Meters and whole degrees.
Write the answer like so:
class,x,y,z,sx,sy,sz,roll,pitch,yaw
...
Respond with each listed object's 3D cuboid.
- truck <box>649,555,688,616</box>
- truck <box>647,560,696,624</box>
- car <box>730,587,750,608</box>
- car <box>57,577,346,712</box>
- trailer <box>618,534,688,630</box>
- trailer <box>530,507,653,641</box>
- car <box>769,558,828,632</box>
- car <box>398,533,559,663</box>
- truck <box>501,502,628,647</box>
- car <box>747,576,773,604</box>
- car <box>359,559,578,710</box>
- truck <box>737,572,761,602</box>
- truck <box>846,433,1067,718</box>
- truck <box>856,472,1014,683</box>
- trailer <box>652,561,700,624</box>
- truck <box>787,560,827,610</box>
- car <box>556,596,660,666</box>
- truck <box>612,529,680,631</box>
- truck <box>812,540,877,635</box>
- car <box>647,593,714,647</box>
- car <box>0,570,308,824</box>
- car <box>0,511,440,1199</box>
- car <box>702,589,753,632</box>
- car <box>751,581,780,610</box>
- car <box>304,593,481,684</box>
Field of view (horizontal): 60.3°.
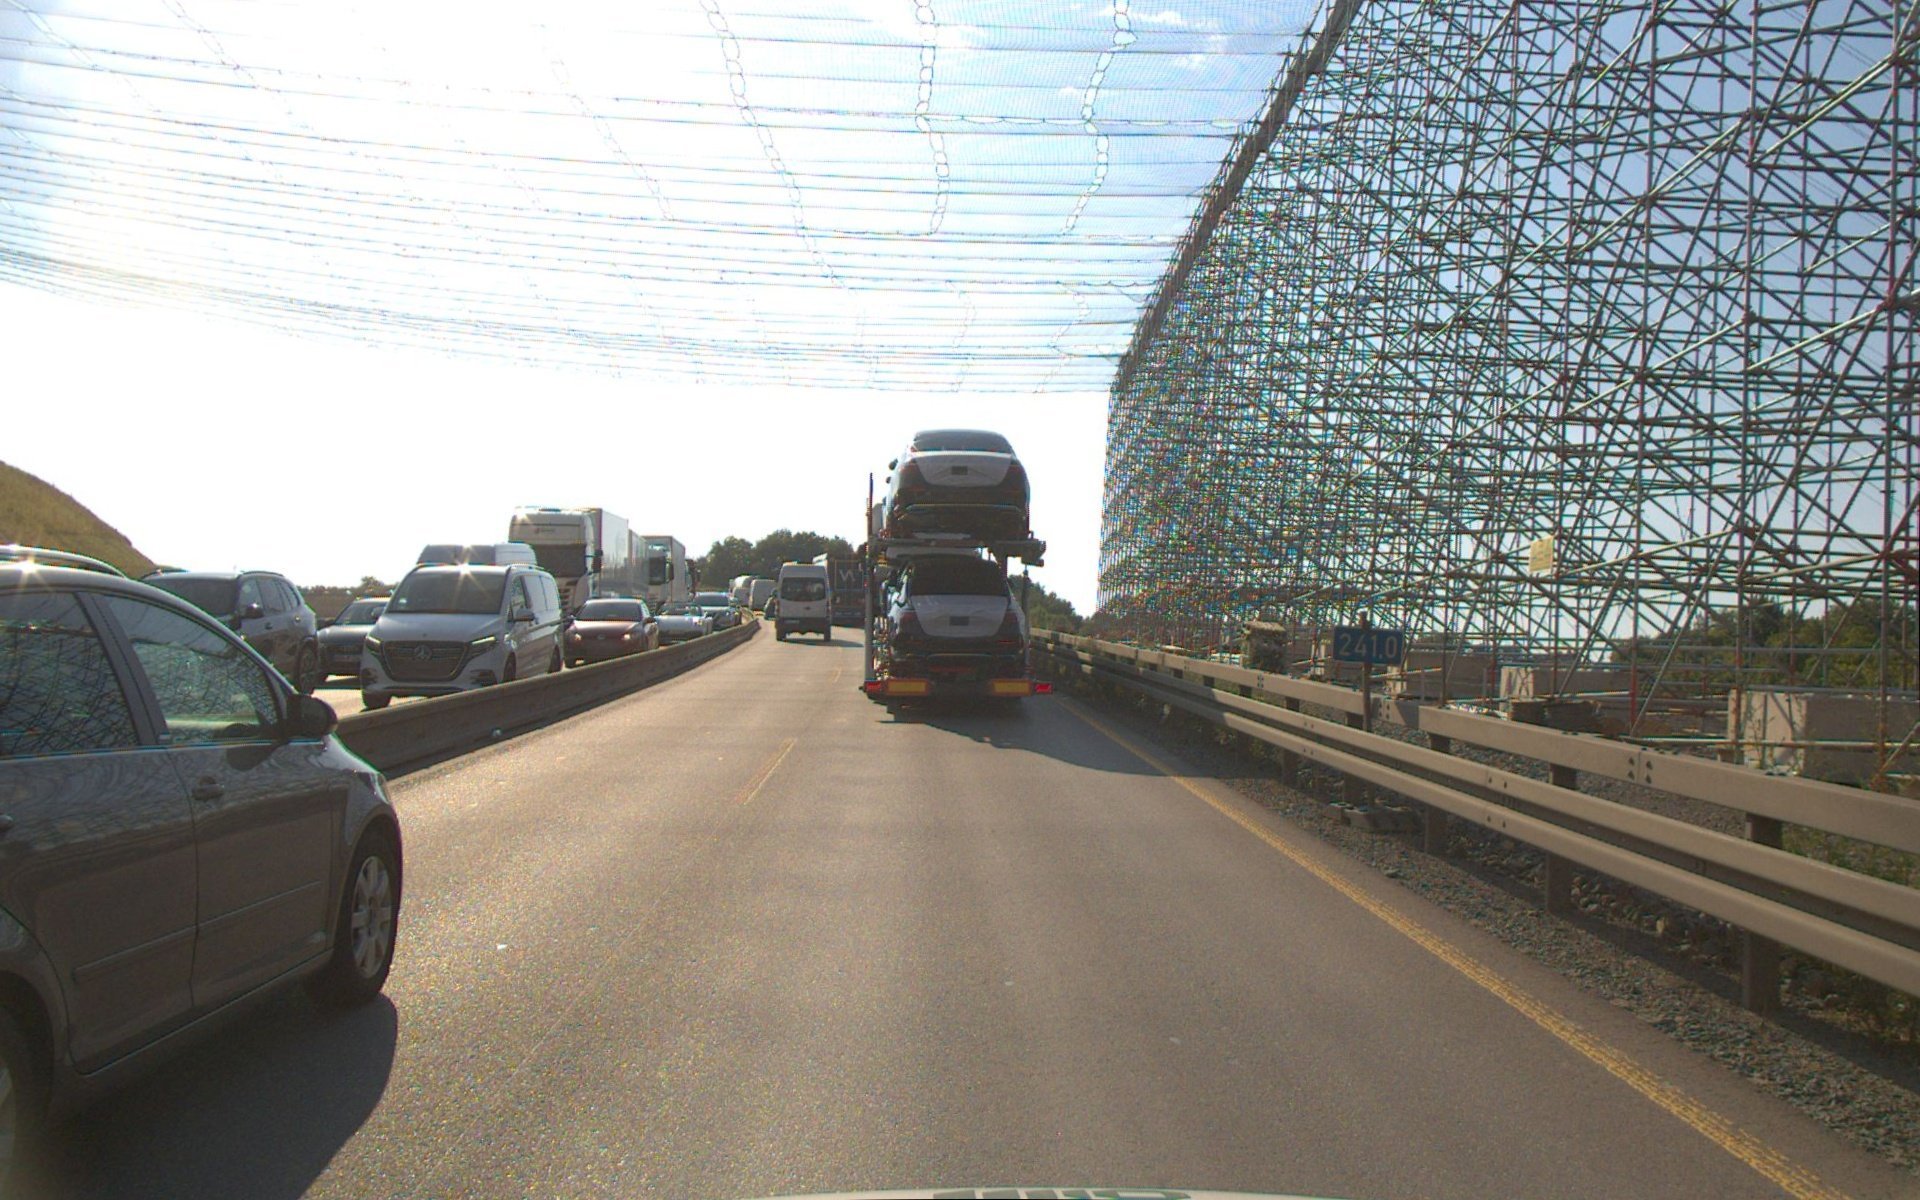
class,x,y,z,sx,sy,sz,roll,pitch,yaw
truck,-19.148,-0.910,108.788,2.388,3.851,5.604,1,0,-10
truck,-15.953,-0.425,91.592,2.368,3.429,5.608,1,0,-8
car,-20.834,-0.238,156.635,1.803,1.868,3.992,1,0,-9
car,-9.900,0.540,22.062,1.756,1.567,4.907,1,0,-3
trailer,-14.250,-0.747,77.561,2.382,4.032,14.074,1,0,-7
trailer,-12.630,-0.783,57.785,2.618,4.086,13.315,1,0,-6
car,-5.907,-0.168,59.992,1.885,2.536,5.398,1,0,-8
car,-11.247,-0.030,39.236,2.197,2.760,7.075,1,0,-4
truck,-11.664,-0.696,49.366,2.580,3.978,7.196,1,0,-5
car,-15.268,-0.764,126.343,1.601,2.049,3.988,1,0,-12
car,-6.896,0.448,23.793,1.772,1.902,5.278,1,0,-3
truck,-23.472,-1.362,183.700,2.542,3.226,6.664,1,0,-8
truck,-0.254,-0.290,26.231,2.743,3.558,10.600,1,0,-2
truck,-0.769,-0.397,35.647,2.782,3.858,9.977,1,0,-4
trailer,-16.709,-0.398,97.887,2.263,3.420,12.032,1,0,-7
truck,-12.122,-1.136,130.339,2.484,3.712,8.886,1,0,-9
car,-7.796,0.663,36.983,1.773,1.444,4.512,1,0,-6
truck,-13.347,-0.812,70.645,2.426,4.116,5.608,1,0,-7
truck,-6.947,-0.682,98.241,3.224,5.328,9.919,1,0,-7
car,-8.787,0.609,52.345,1.773,1.595,4.360,1,0,-6
car,-6.435,0.605,12.428,1.550,1.579,4.216,1,0,-3
car,-2.910,0.610,4.615,1.657,1.624,3.999,1,0,-1
car,-9.099,0.405,65.015,1.773,1.595,4.360,1,0,-6
car,-12.580,-0.260,106.868,1.792,1.803,3.993,1,0,-8
car,-9.920,0.638,29.259,1.756,1.462,4.378,1,0,-3
